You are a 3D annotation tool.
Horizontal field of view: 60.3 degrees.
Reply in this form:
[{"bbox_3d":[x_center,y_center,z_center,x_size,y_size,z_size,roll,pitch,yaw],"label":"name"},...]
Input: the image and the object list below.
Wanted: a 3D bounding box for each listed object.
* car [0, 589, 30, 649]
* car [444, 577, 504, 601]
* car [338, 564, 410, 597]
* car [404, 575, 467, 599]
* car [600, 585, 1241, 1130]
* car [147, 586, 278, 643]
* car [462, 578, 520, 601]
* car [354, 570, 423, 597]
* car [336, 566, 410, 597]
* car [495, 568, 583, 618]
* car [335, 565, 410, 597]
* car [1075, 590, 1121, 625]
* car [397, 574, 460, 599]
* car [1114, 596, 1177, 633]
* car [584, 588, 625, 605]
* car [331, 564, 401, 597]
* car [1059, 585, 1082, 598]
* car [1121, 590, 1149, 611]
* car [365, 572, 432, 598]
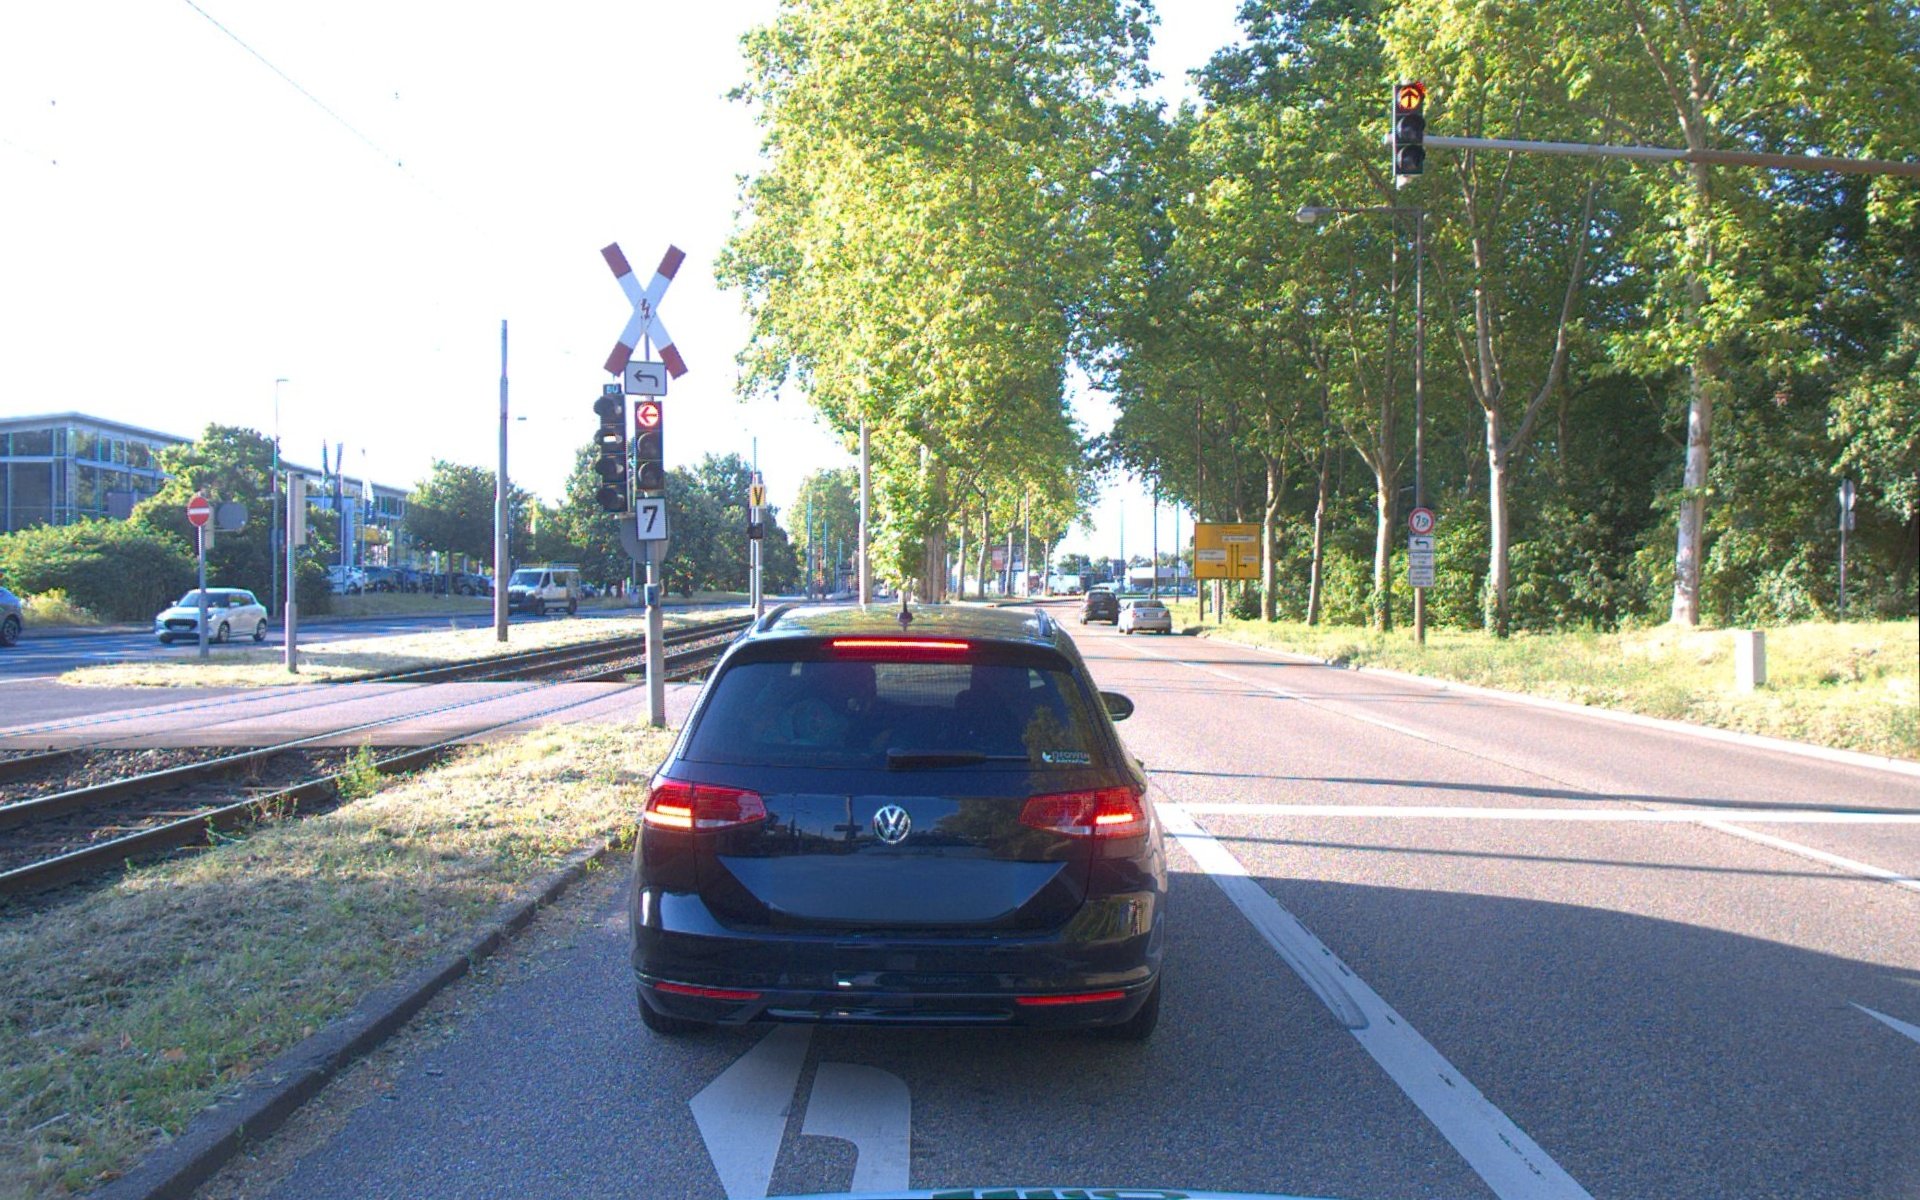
[{"bbox_3d":[-25.143,0.480,40.927,1.823,1.507,4.172,1,1,1],"label":"car"},{"bbox_3d":[-35.582,-0.817,121.250,3.909,1.649,1.742,1,0,-6],"label":"car"},{"bbox_3d":[-34.451,-1.125,97.275,3.930,1.848,1.732,1,0,-22],"label":"car"},{"bbox_3d":[-36.050,-0.873,113.796,3.913,1.583,1.740,1,0,-9],"label":"car"},{"bbox_3d":[-0.141,0.715,6.390,1.758,1.490,3.582,1,0,-1],"label":"car"},{"bbox_3d":[-21.039,0.376,46.736,1.824,1.507,4.091,1,1,0],"label":"car"},{"bbox_3d":[-35.252,-0.776,124.466,3.909,1.649,1.742,1,0,-6],"label":"car"},{"bbox_3d":[-35.211,-0.985,101.928,3.930,1.583,1.732,1,0,-22],"label":"car"},{"bbox_3d":[-33.702,-1.061,94.950,3.930,1.734,1.732,1,0,-22],"label":"car"},{"bbox_3d":[-21.955,-0.377,86.592,2.050,2.504,5.858,1,1,12],"label":"car"},{"bbox_3d":[-32.919,-1.051,92.711,3.930,1.734,1.732,1,0,-22],"label":"car"},{"bbox_3d":[6.339,0.324,76.356,1.673,1.588,4.165,0,0,-2],"label":"car"},{"bbox_3d":[-35.718,-0.893,111.101,3.930,1.583,1.732,1,0,-22],"label":"car"},{"bbox_3d":[6.998,0.524,62.720,1.578,1.317,3.978,1,0,-6],"label":"car"},{"bbox_3d":[-35.980,-0.347,167.430,3.909,1.583,1.742,1,0,-5],"label":"car"},{"bbox_3d":[-35.558,-1.157,99.013,3.930,1.848,1.732,1,0,-22],"label":"car"},{"bbox_3d":[12.649,-0.972,189.314,1.951,1.445,4.003,1,0,15],"label":"car"},{"bbox_3d":[20.764,0.019,195.978,2.051,2.361,5.855,1,1,18],"label":"car"},{"bbox_3d":[-35.553,-0.959,104.706,3.930,1.583,1.732,1,0,-22],"label":"car"}]
